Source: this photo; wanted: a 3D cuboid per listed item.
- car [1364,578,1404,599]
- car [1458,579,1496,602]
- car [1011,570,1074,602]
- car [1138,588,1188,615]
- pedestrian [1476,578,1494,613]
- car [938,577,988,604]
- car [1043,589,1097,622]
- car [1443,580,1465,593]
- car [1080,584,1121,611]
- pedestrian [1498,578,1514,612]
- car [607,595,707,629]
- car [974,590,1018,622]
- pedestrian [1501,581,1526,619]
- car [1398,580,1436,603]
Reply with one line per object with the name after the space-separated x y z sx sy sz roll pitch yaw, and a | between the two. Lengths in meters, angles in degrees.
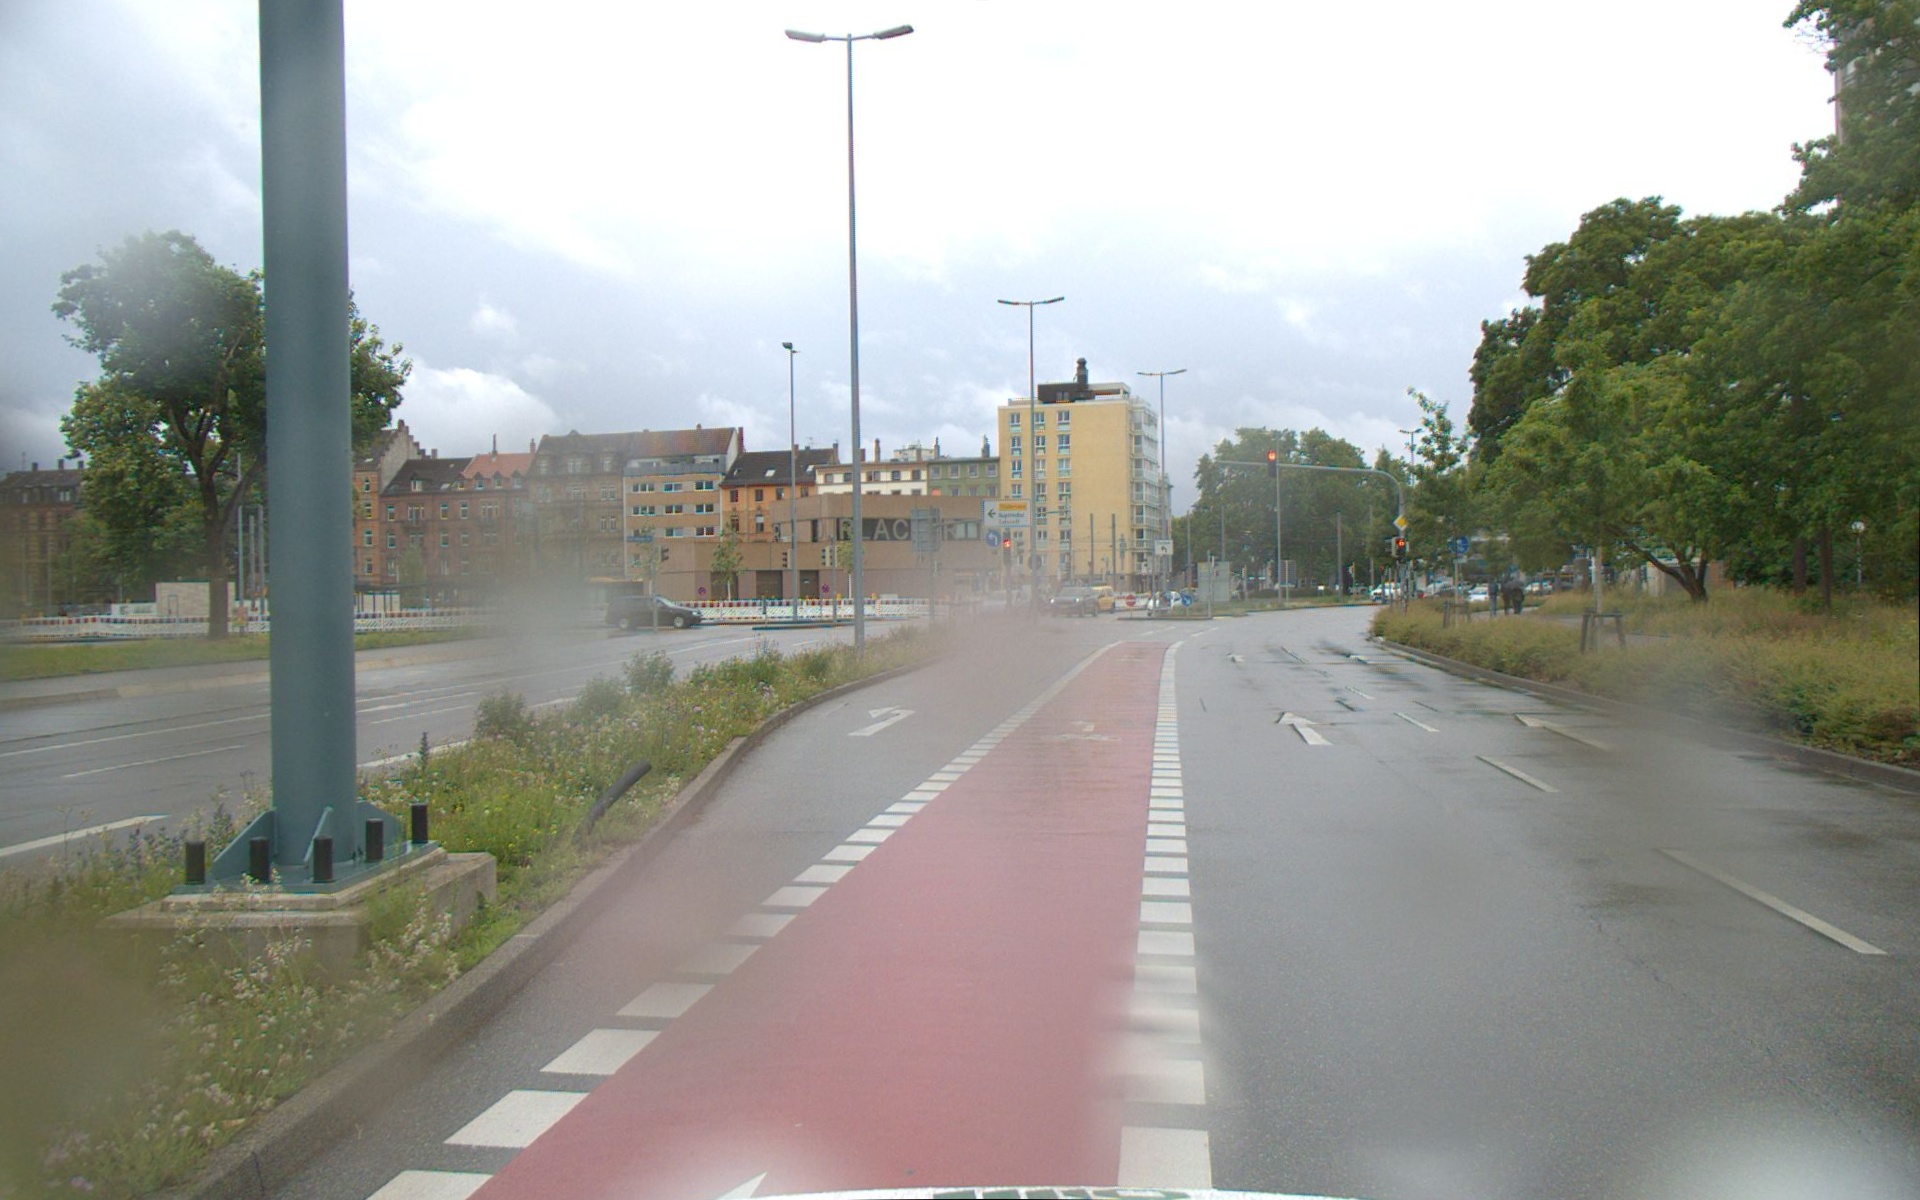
39.423 -1.061 153.607 1.796 1.711 5.146 -3 0 36 | car
38.301 -0.704 122.422 1.757 1.672 4.150 -1 0 31 | car
9.315 -1.544 186.197 6.597 3.439 2.812 -1 0 12 | car
12.419 0.089 100.834 1.647 1.527 3.862 -2 0 30 | car
24.886 -0.224 78.422 0.738 1.615 0.937 -1 0 20 | pedestrian
0.380 -1.076 188.373 5.236 2.938 2.341 -1 0 12 | car
6.149 0.262 92.007 1.951 1.664 4.606 -3 0 16 | car
66.399 -1.780 222.153 1.758 1.672 4.148 -1 0 33 | car
9.561 -0.170 112.137 1.670 1.735 4.153 -1 0 21 | car
25.720 -0.239 77.921 0.688 1.615 0.937 -1 0 20 | pedestrian
-13.481 0.545 73.682 4.103 1.427 1.619 -1 0 3 | car
1.795 0.274 80.742 1.643 1.429 4.161 -2 0 8 | car
24.137 0.001 72.157 1.001 1.615 0.937 -1 0 20 | pedestrian
34.920 -0.664 126.315 1.757 1.672 4.150 -1 0 31 | car
